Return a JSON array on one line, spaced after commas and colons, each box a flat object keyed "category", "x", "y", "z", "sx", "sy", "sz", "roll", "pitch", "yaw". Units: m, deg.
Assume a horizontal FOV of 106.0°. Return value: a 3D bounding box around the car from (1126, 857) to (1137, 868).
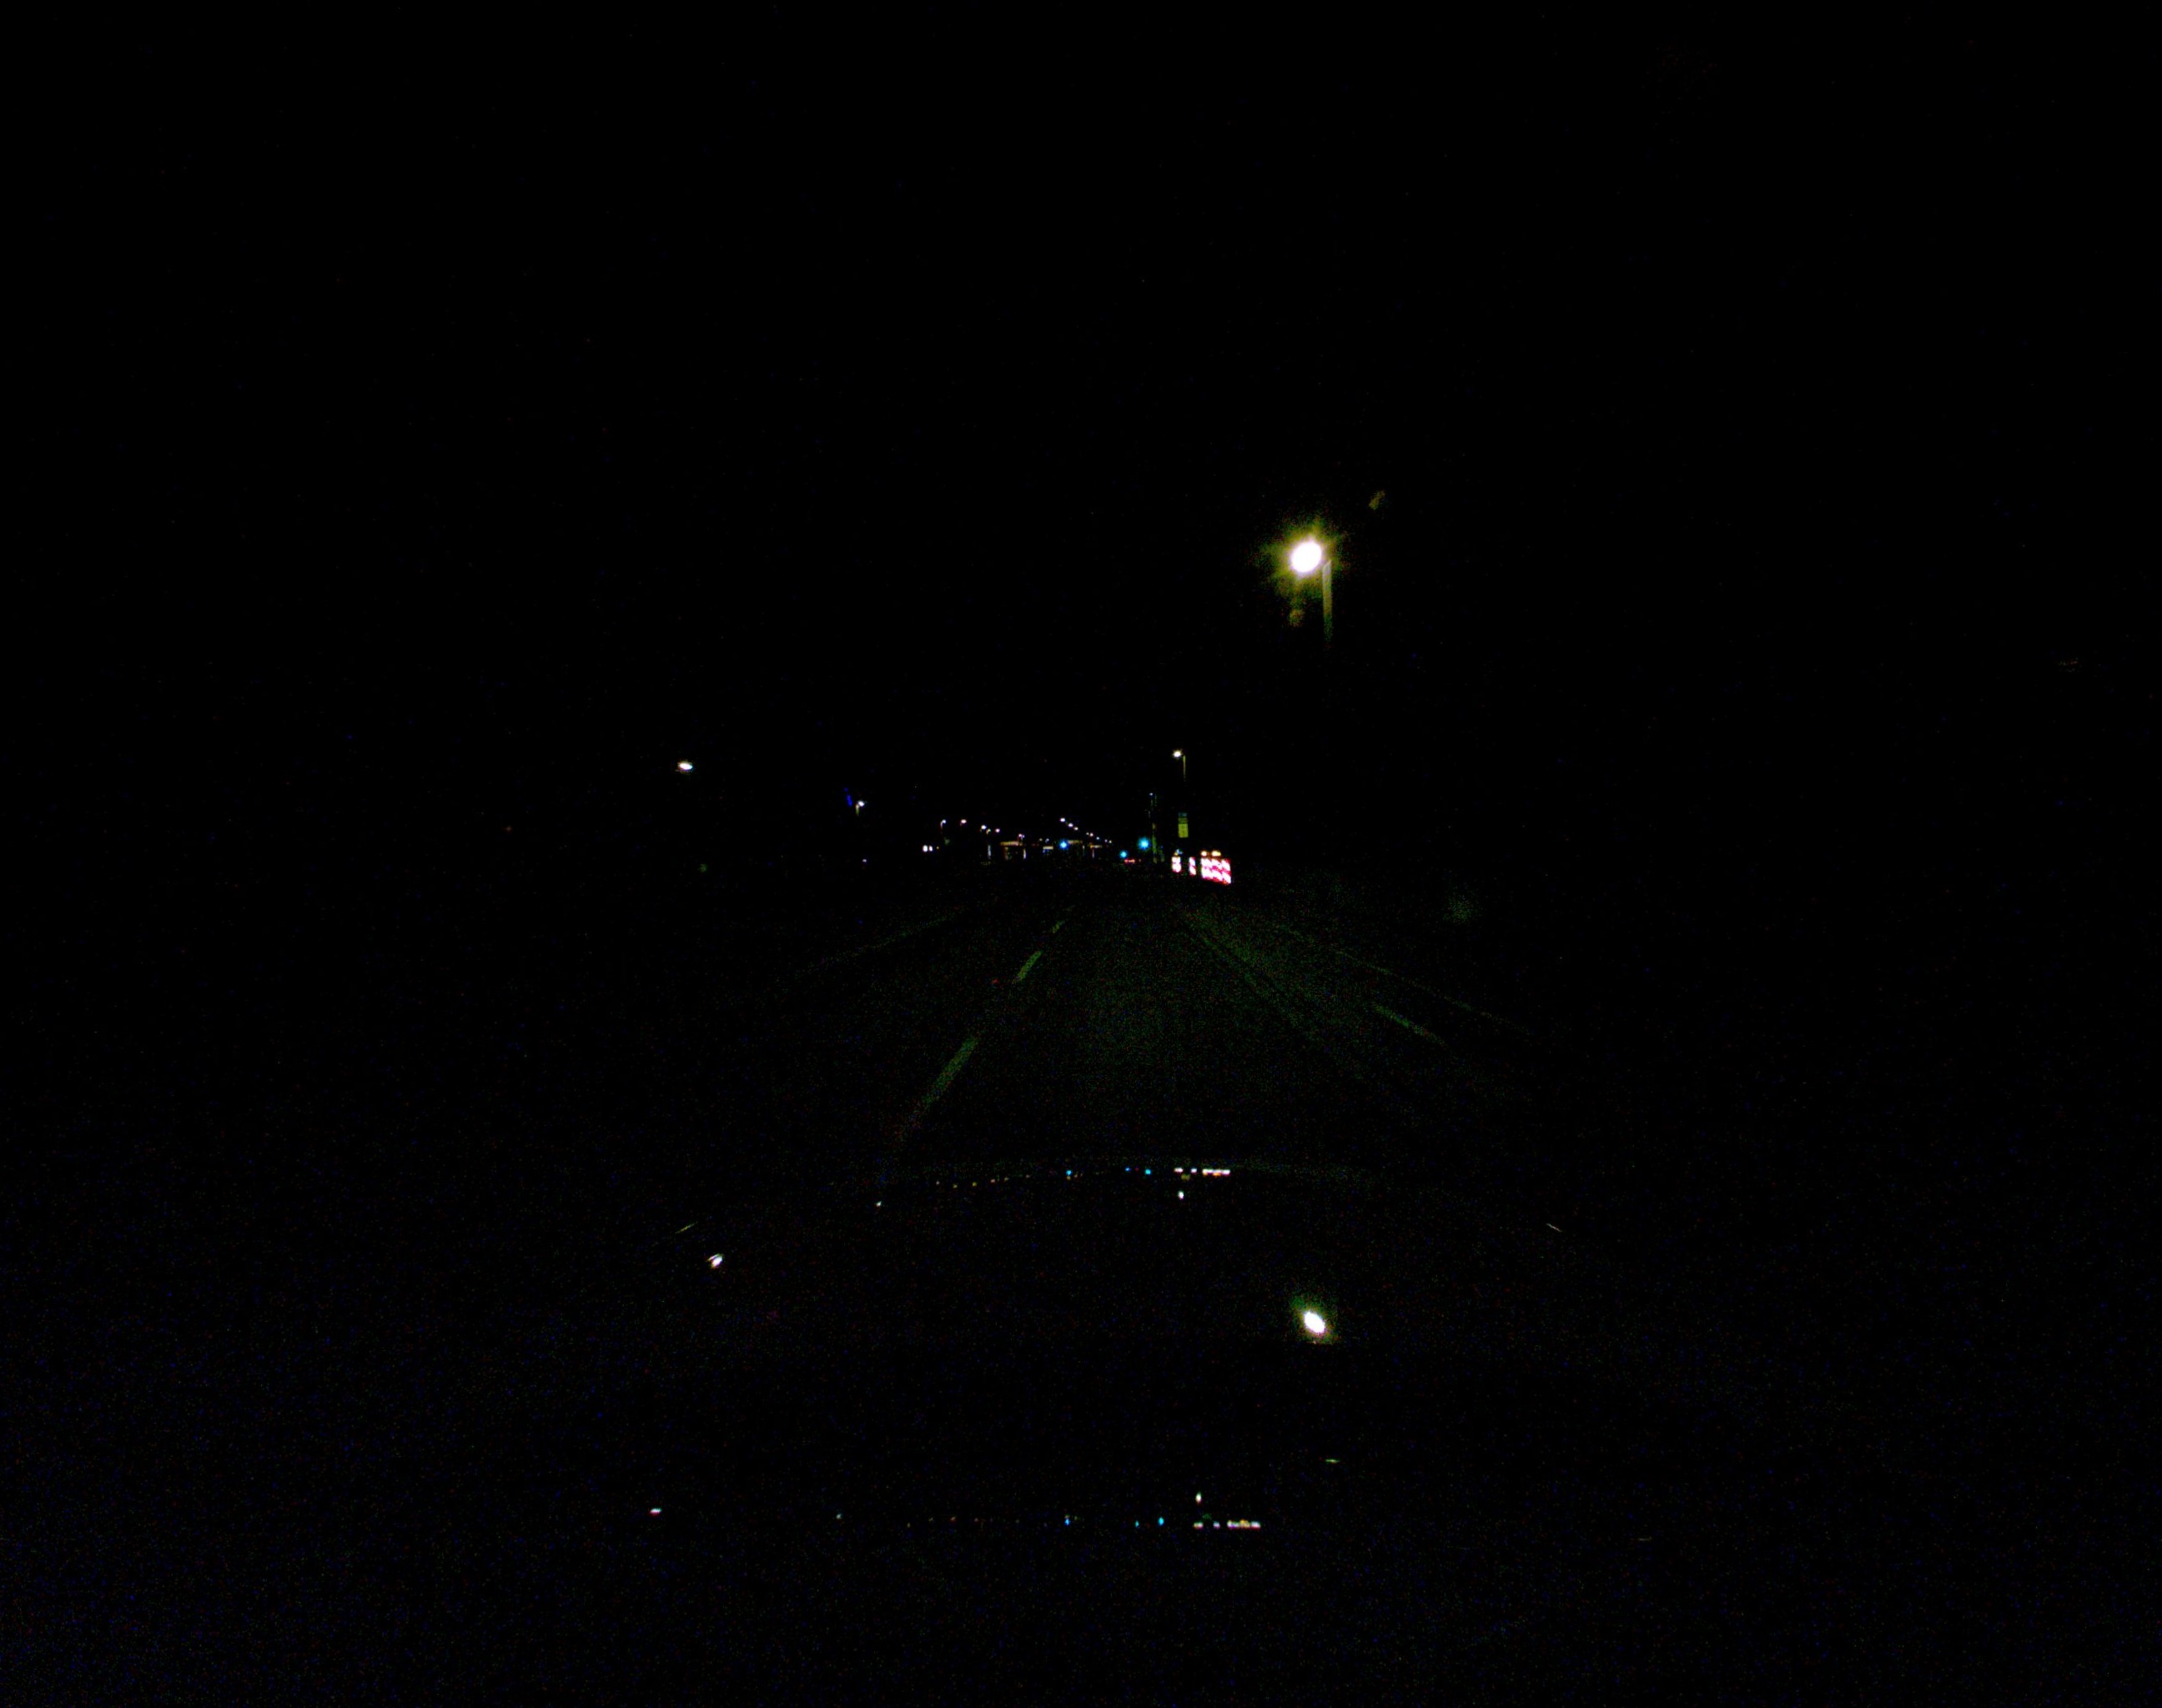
[{"category": "car", "x": 9.610, "y": 1.541, "z": 156.089, "sx": 2.079, "sy": 2.013, "sz": 4.003, "roll": -2, "pitch": 0, "yaw": 3}]
